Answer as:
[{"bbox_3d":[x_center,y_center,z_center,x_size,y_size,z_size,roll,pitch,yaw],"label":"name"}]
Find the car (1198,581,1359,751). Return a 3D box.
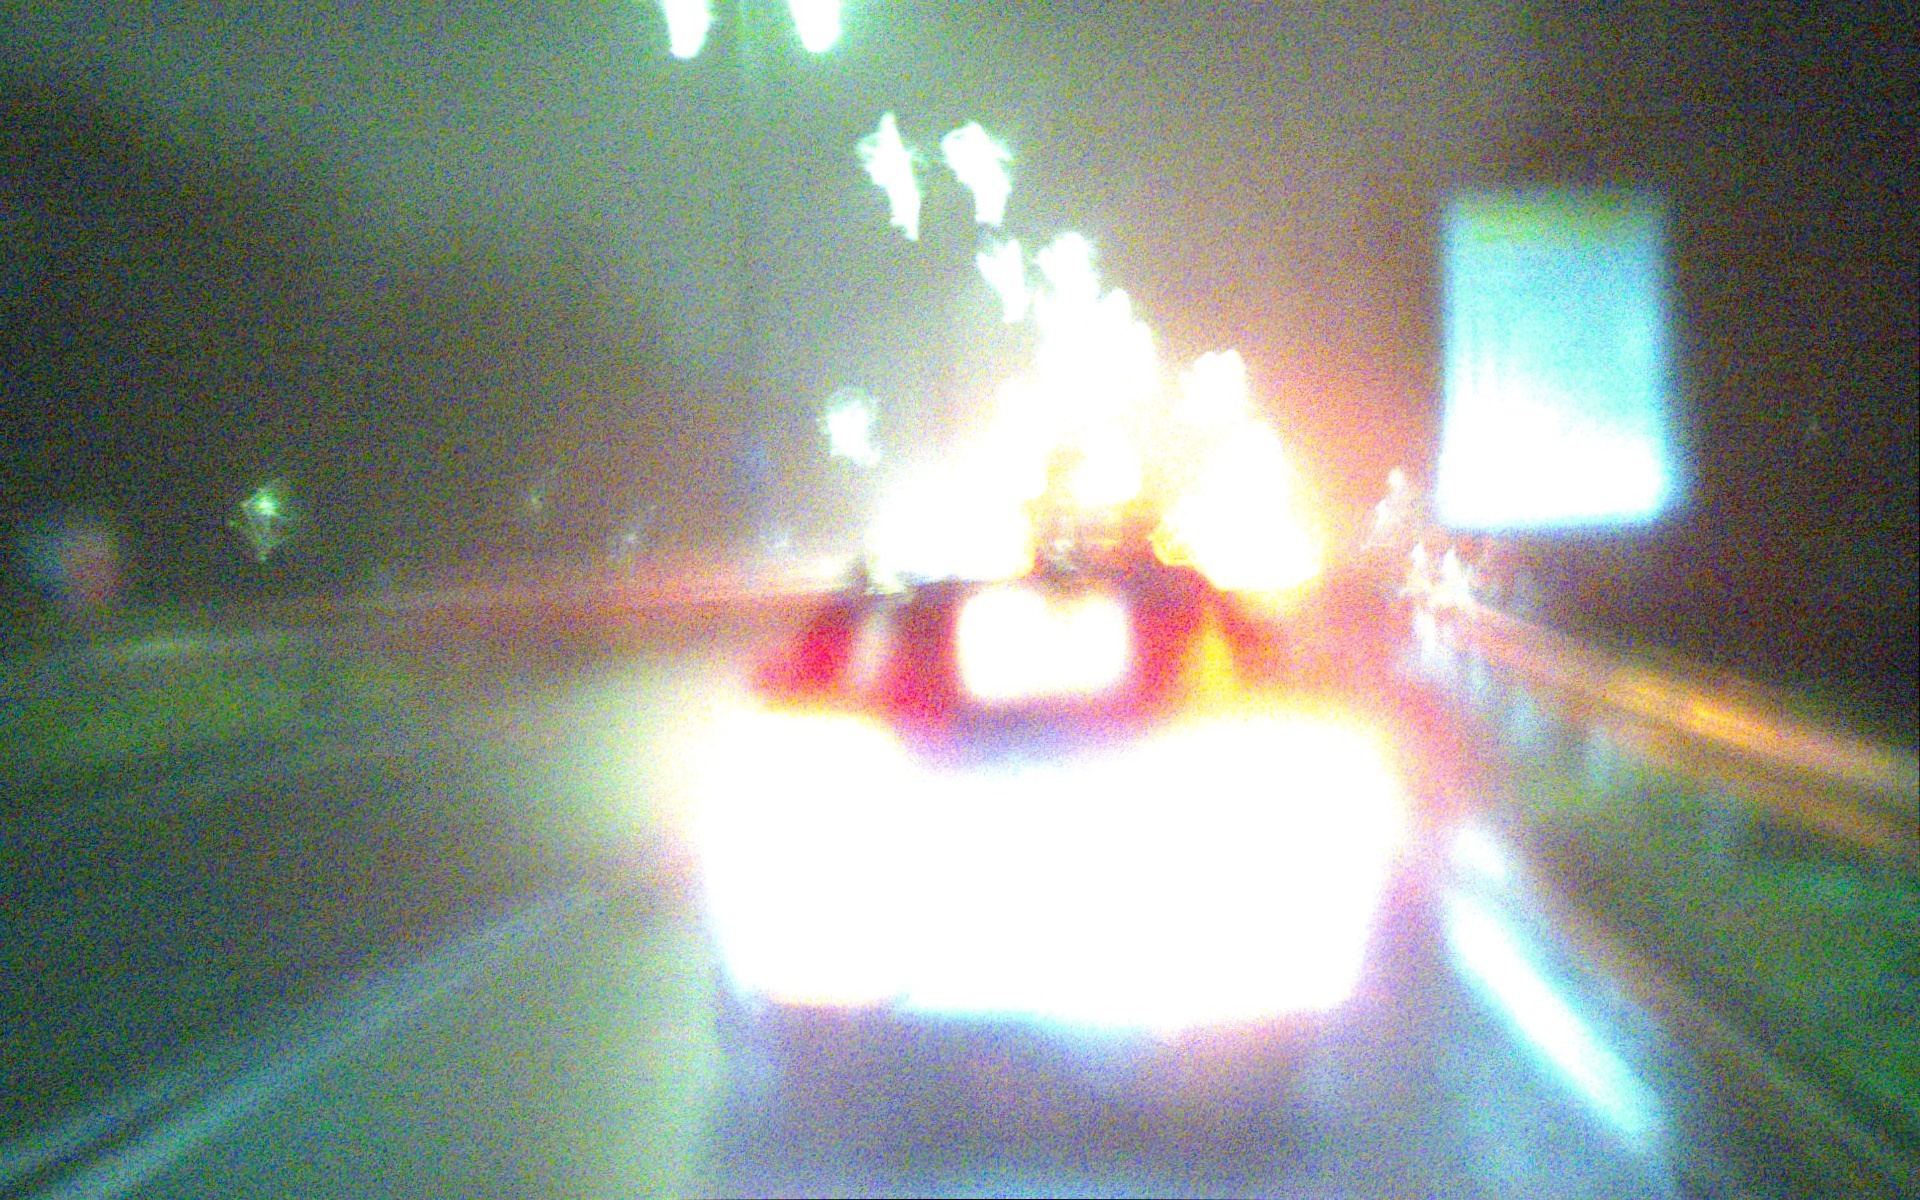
[{"bbox_3d":[3.904,0.783,42.470,1.836,1.942,3.999,2,0,5],"label":"car"}]

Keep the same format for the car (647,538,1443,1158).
[{"bbox_3d":[0.409,0.579,10.236,1.945,1.486,3.715,0,0,7],"label":"car"}]

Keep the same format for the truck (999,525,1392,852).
[{"bbox_3d":[2.294,0.715,31.021,3.070,2.520,7.164,2,0,7],"label":"truck"}]

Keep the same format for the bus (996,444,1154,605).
[{"bbox_3d":[2.534,-1.593,72.607,2.744,3.112,9.200,2,1,5],"label":"bus"}]
